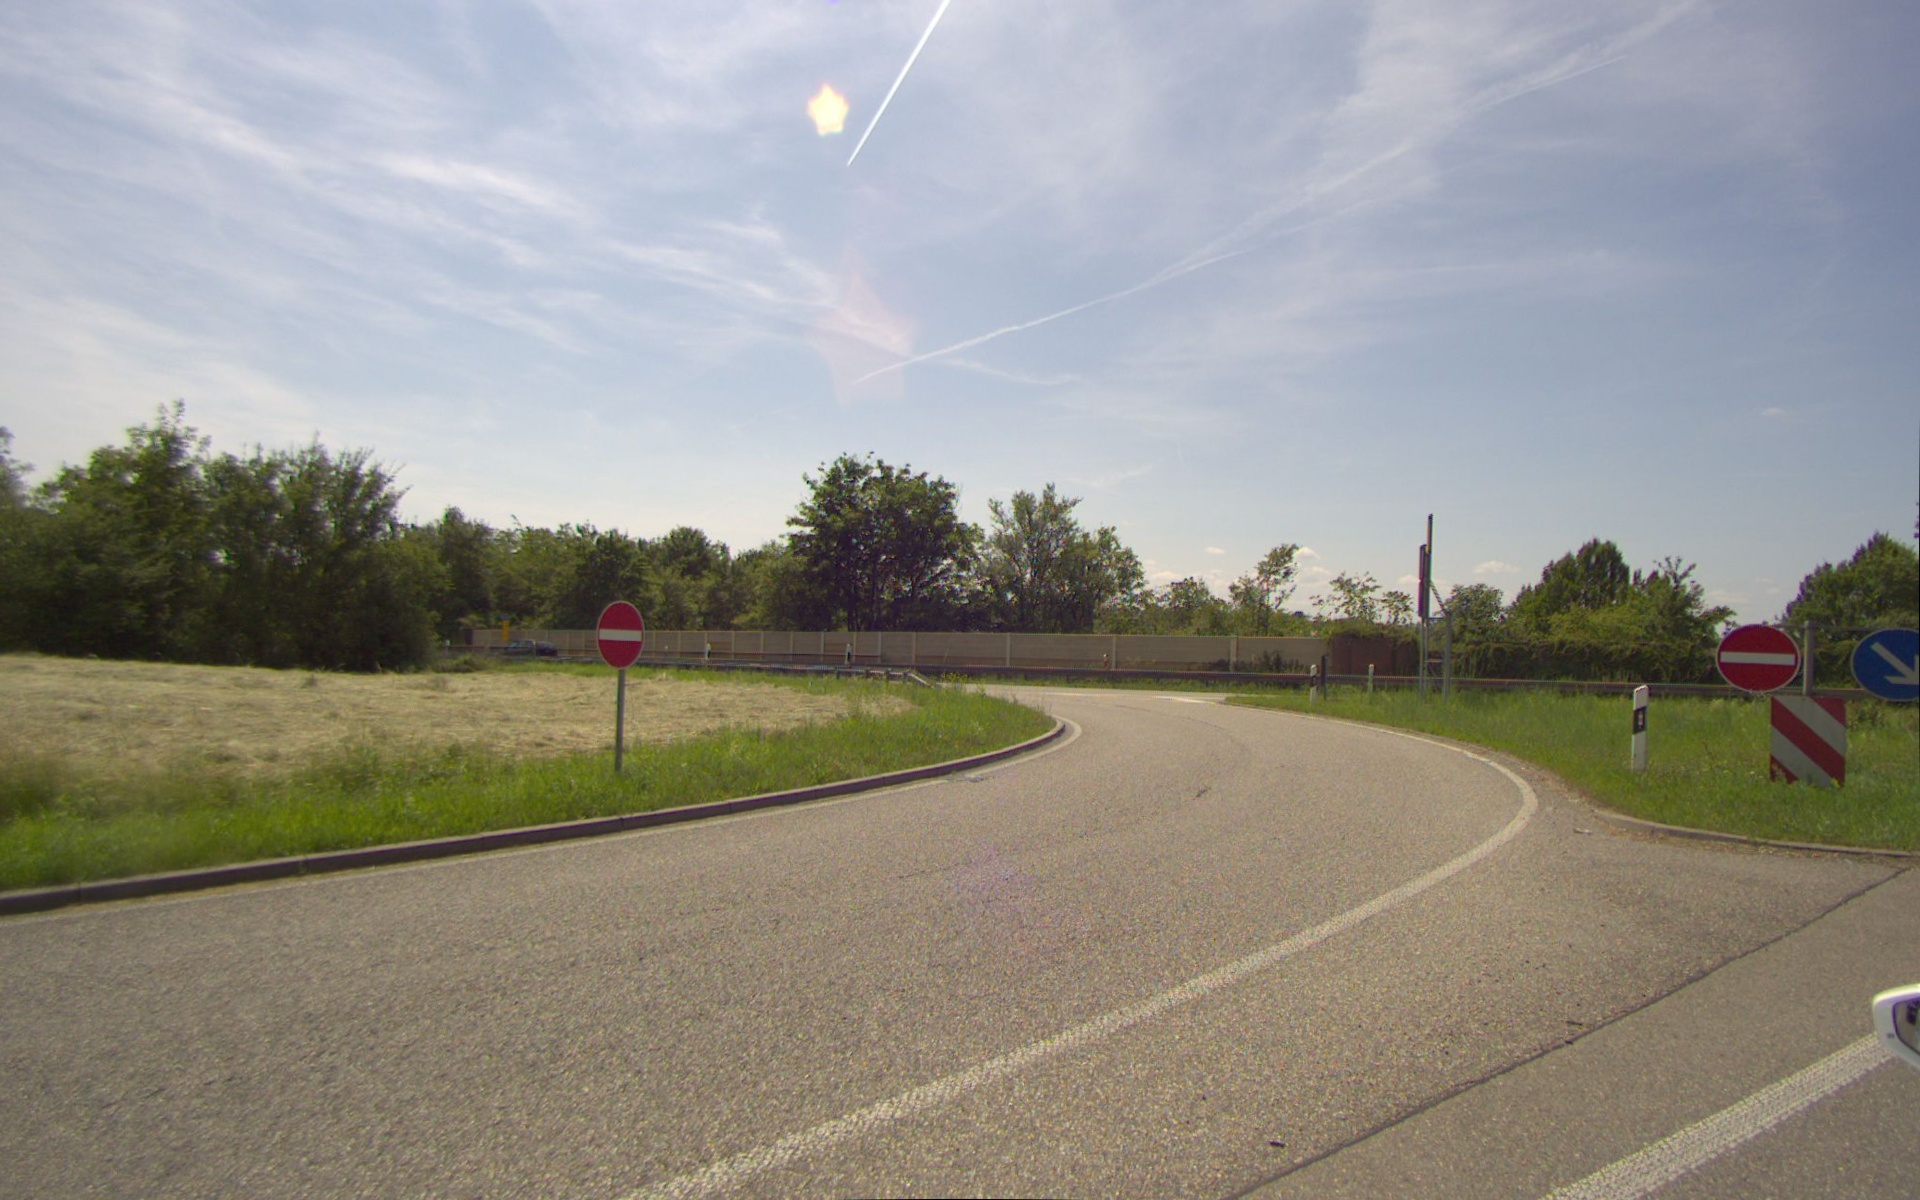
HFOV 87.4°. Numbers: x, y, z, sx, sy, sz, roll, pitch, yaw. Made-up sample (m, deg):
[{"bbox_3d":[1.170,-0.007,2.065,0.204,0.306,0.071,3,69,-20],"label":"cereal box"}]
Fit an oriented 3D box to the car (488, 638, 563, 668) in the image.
[{"bbox_3d":[-23.938,2.884,55.285,4.034,1.559,1.752,0,-2,31],"label":"car"}]
